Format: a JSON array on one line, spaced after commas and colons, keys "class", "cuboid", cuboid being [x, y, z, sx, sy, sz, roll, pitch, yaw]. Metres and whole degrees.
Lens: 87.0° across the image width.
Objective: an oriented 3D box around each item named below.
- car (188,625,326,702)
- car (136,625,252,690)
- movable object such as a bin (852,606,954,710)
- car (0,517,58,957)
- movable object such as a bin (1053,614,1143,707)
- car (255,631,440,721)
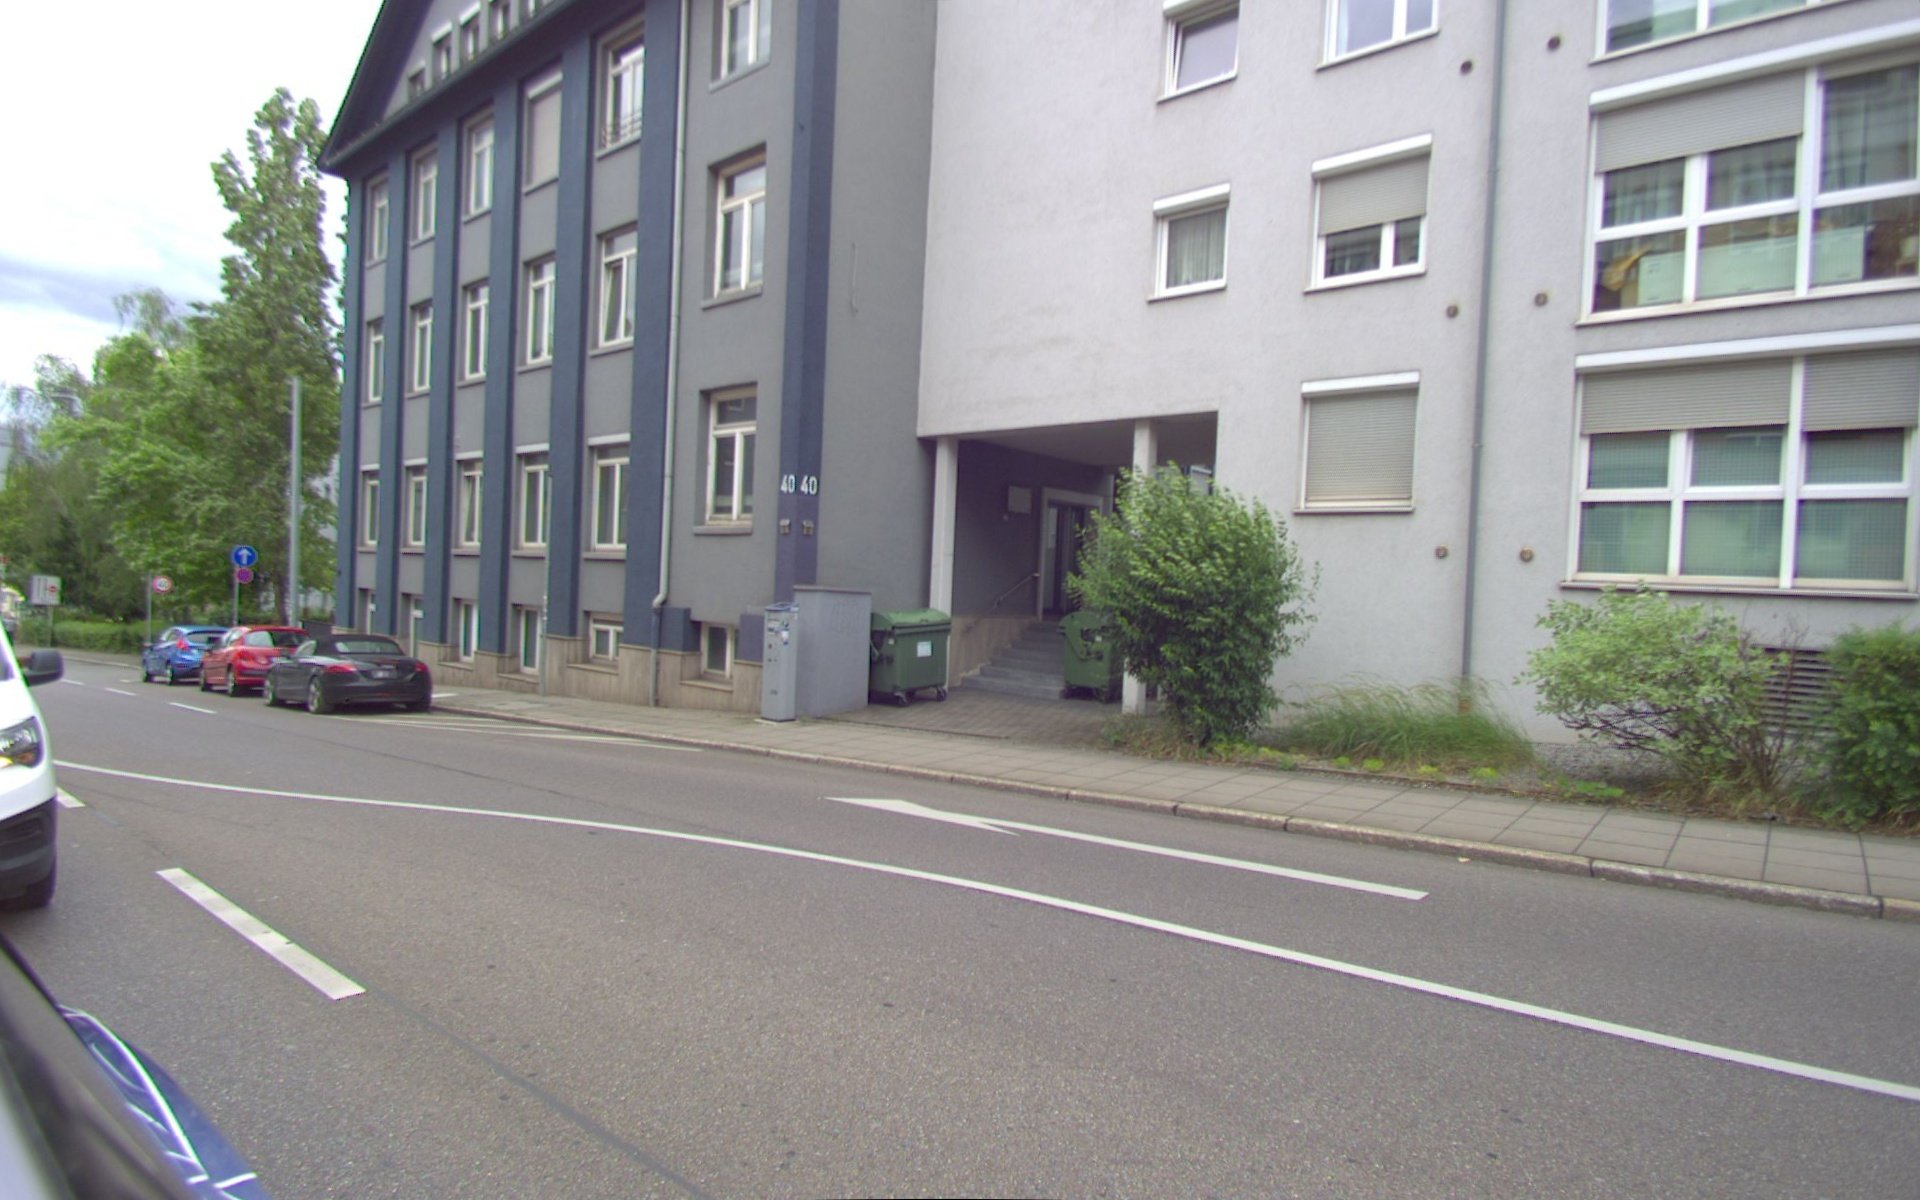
[{"class": "car", "cuboid": [-15.352, 1.316, 22.037, 3.727, 1.460, 1.623, -1, 0, 41]}, {"class": "car", "cuboid": [-19.460, 1.403, 25.665, 3.727, 1.460, 1.623, -1, 0, 41]}, {"class": "movable object such as a bin", "cuboid": [-0.882, 0.865, 15.750, 1.039, 1.518, 1.213, -1, 0, 41]}, {"class": "car", "cuboid": [-6.086, 0.614, 5.178, 3.998, 1.901, 1.716, -1, 0, 41]}, {"class": "movable object such as a bin", "cuboid": [2.256, 0.950, 16.541, 1.078, 1.427, 1.026, -1, 0, 41]}, {"class": "car", "cuboid": [-11.009, 1.279, 18.113, 3.727, 1.403, 1.778, -1, -2, 41]}]
